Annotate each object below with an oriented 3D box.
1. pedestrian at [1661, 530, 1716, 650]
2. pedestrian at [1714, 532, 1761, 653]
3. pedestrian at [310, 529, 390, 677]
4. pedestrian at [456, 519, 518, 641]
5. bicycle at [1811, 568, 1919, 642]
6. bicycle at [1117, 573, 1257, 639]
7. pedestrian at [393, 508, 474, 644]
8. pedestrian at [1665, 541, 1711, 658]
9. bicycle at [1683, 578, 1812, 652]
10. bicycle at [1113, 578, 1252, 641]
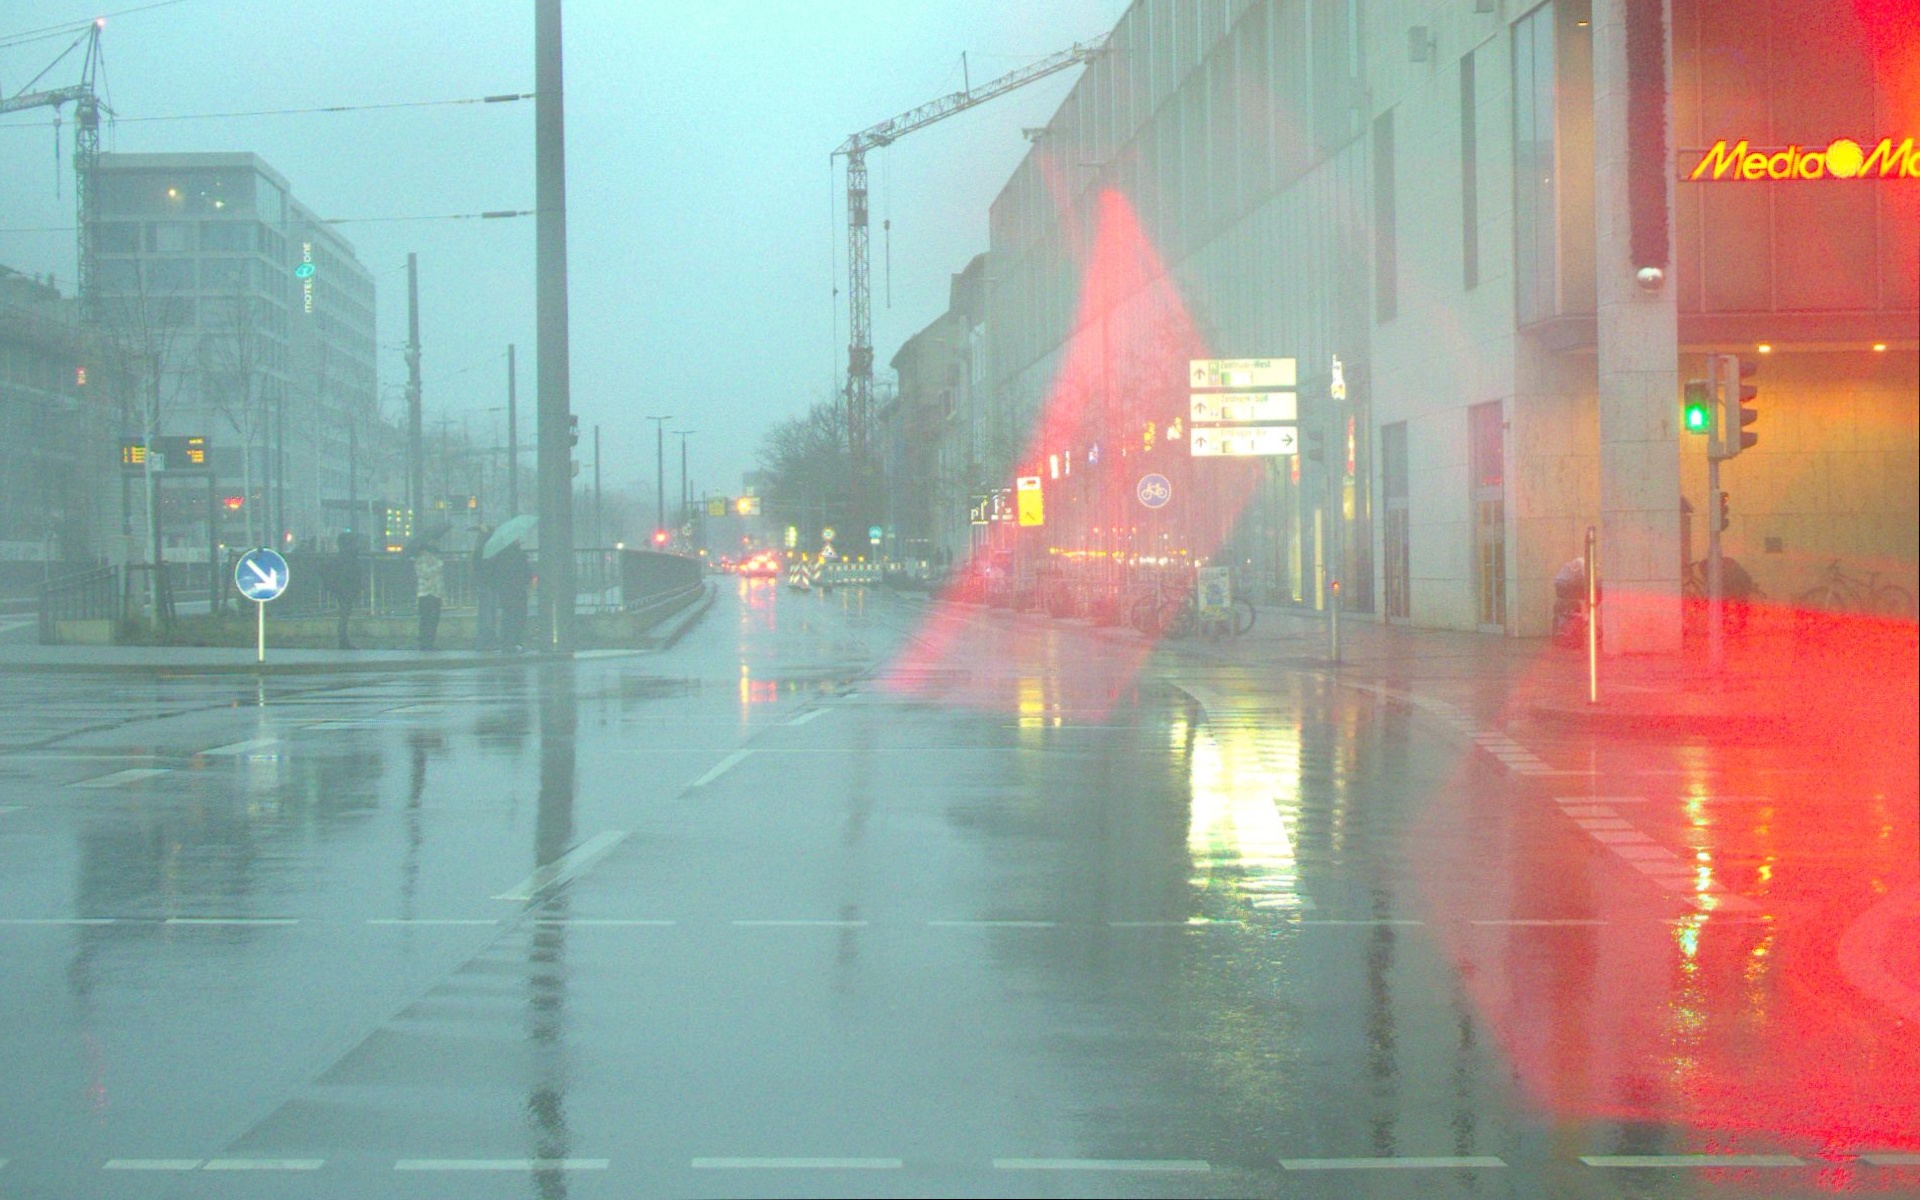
[{"bbox_3d":[10.445,-0.145,49.275,0.636,1.703,0.573,-1,0,-1],"label":"pedestrian"},{"bbox_3d":[11.325,-0.111,50.110,0.600,1.739,0.524,1,0,8],"label":"pedestrian"},{"bbox_3d":[-8.405,0.034,47.380,0.785,2.007,0.726,1,1,42],"label":"pedestrian"},{"bbox_3d":[-6.603,-0.278,47.979,0.612,1.680,0.577,1,1,42],"label":"pedestrian"},{"bbox_3d":[13.482,0.068,50.835,1.646,1.066,0.525,1,0,-4],"label":"bicycle"},{"bbox_3d":[4.058,0.104,61.583,2.442,1.150,0.674,-1,0,-1],"label":"bicycle"},{"bbox_3d":[-7.126,-0.322,46.534,0.821,1.825,0.786,1,0,-31],"label":"pedestrian"},{"bbox_3d":[10.392,-0.005,49.063,0.485,1.657,0.457,-1,0,30],"label":"pedestrian"},{"bbox_3d":[11.603,0.223,50.674,1.767,1.066,0.525,1,0,-7],"label":"bicycle"},{"bbox_3d":[4.027,0.169,62.329,2.425,1.095,0.712,-1,0,-2],"label":"bicycle"}]
